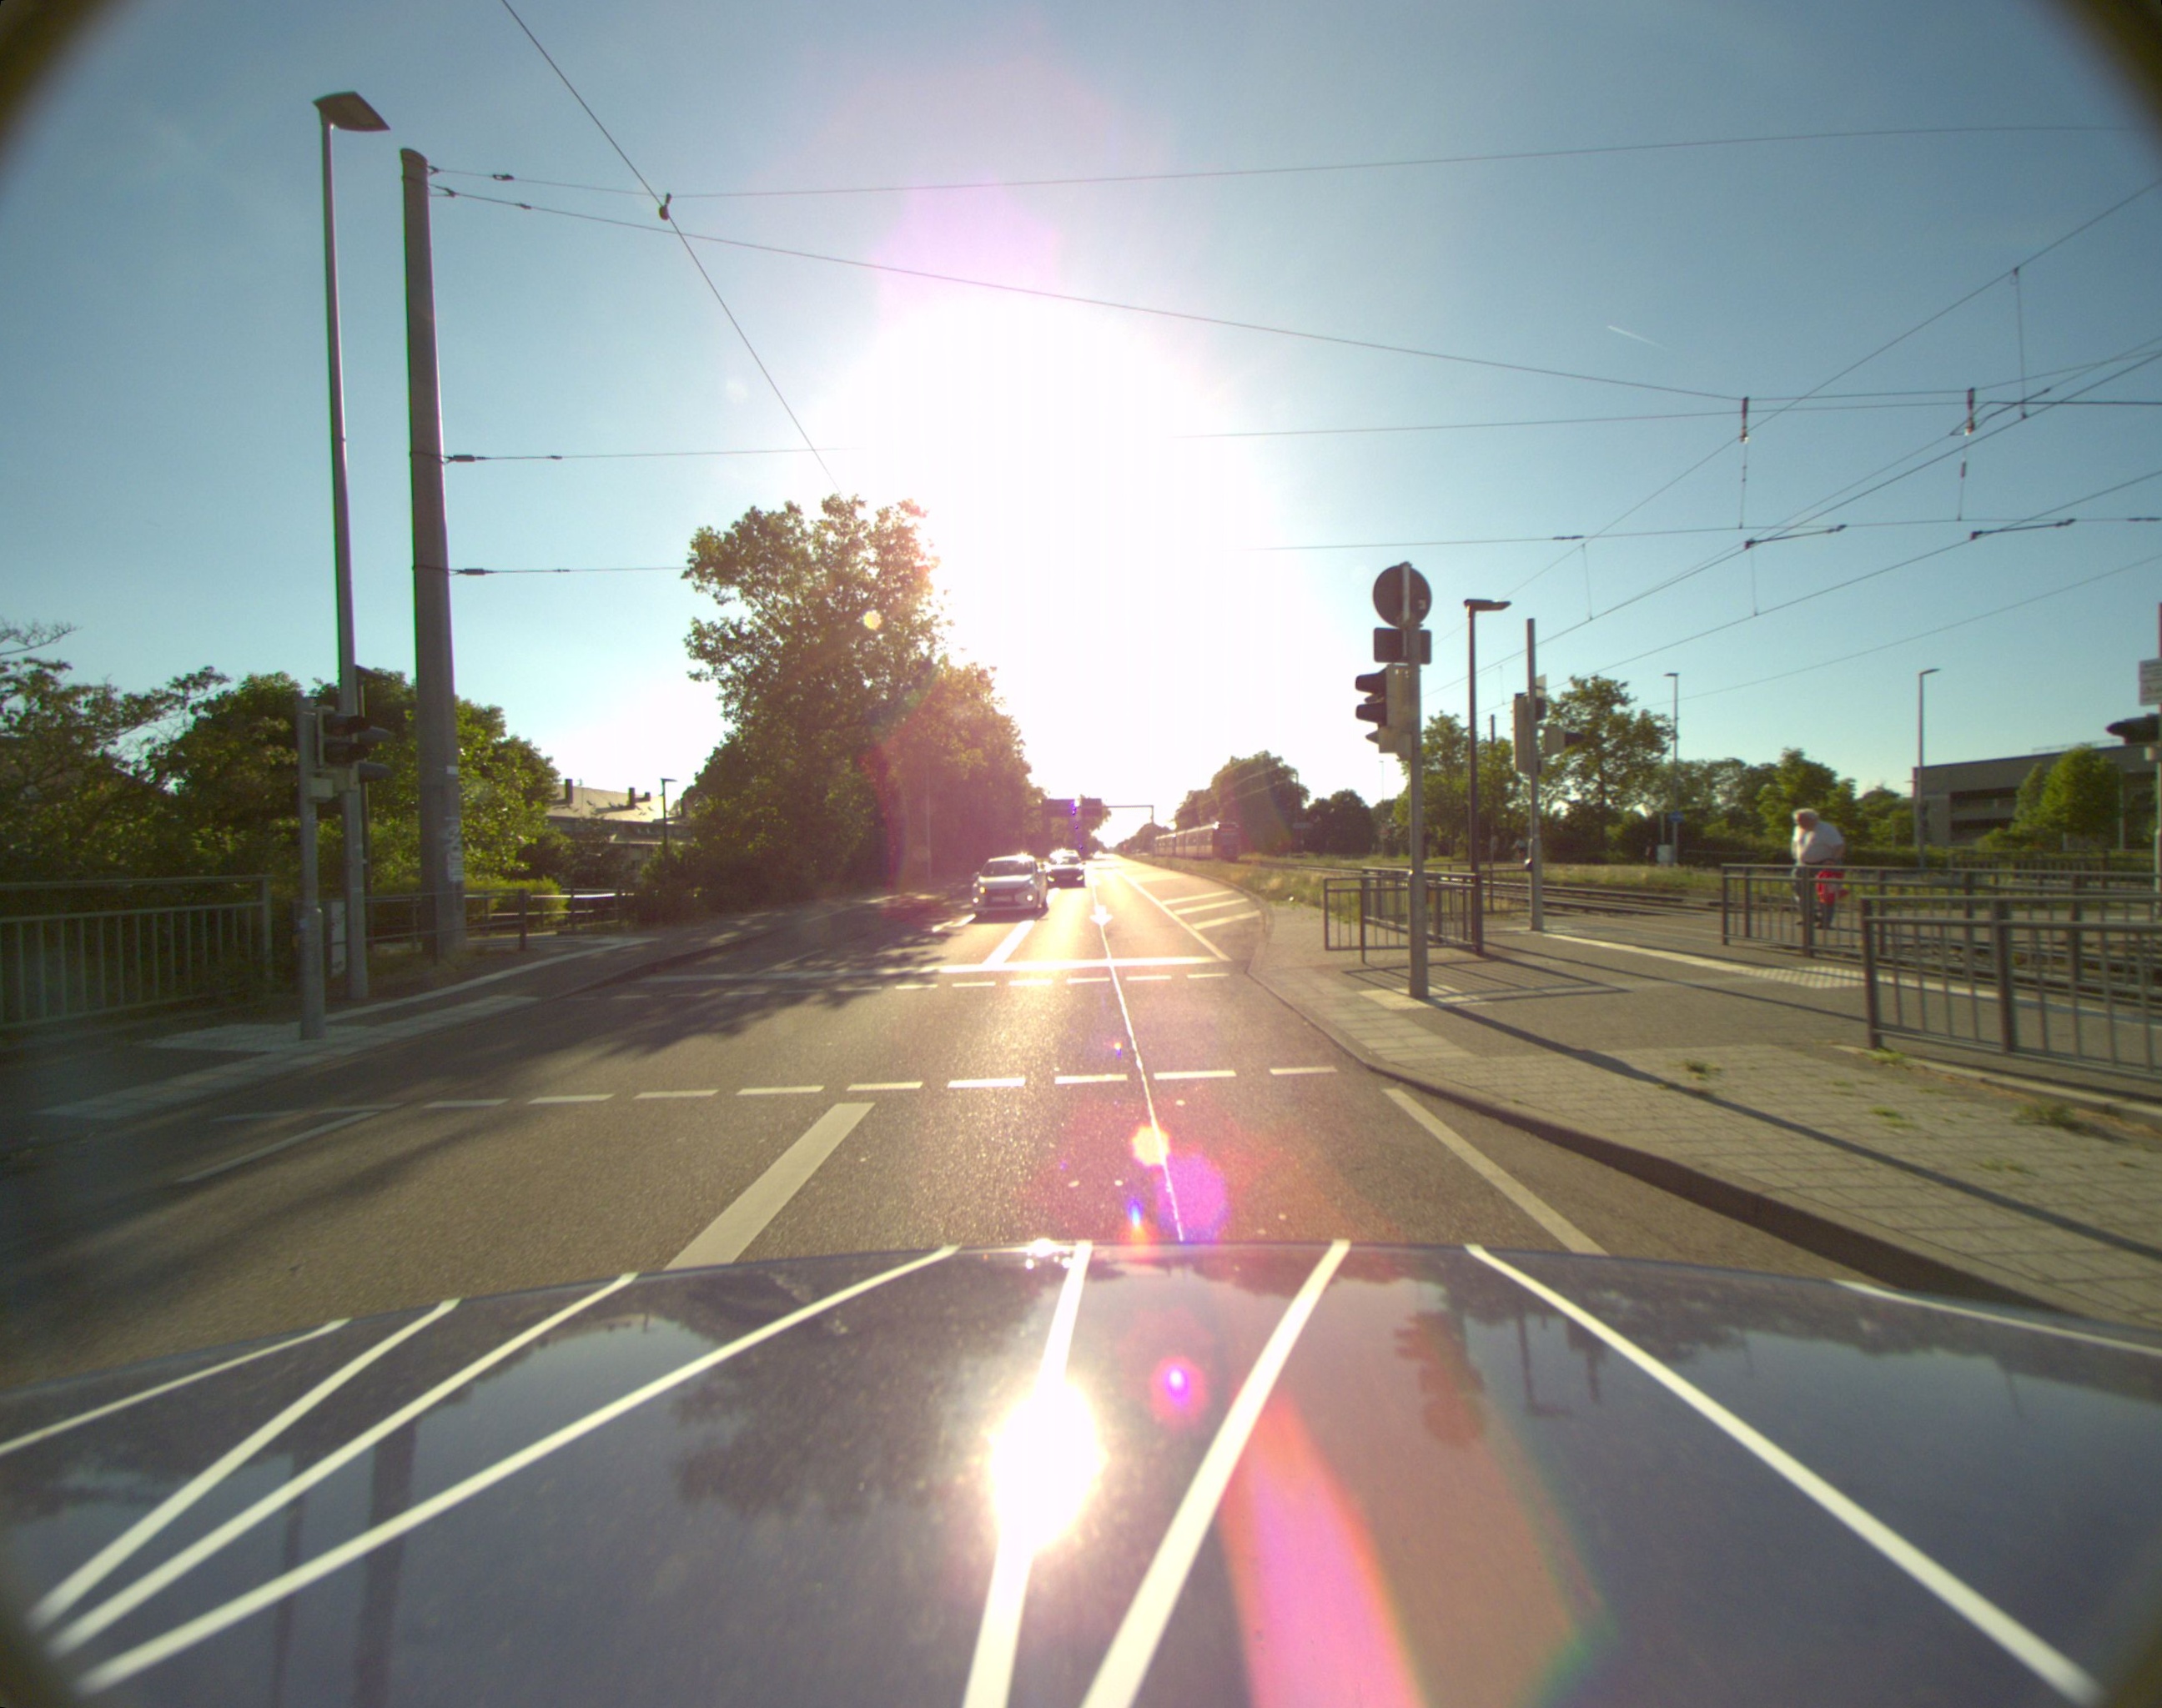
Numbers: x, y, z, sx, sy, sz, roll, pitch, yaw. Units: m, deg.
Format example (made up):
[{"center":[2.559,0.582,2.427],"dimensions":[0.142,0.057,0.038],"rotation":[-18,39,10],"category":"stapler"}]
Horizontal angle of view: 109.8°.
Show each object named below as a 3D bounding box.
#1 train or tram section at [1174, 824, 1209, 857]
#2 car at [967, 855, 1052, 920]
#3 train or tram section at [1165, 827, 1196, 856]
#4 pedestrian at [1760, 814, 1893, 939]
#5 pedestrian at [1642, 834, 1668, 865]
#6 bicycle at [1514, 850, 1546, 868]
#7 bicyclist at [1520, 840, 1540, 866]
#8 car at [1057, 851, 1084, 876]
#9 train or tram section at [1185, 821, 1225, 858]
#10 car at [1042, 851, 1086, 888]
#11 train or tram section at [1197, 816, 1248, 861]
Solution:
[{"center":[14.229,-1.699,98.622],"dimensions":[2.891,3.924,12.111],"rotation":[-2,1,1],"category":"train or tram section"},{"center":[-1.809,0.819,20.403],"dimensions":[1.670,1.465,3.744],"rotation":[-1,1,3],"category":"car"},{"center":[14.451,-1.821,111.480],"dimensions":[2.891,3.924,13.659],"rotation":[-2,1,1],"category":"train or tram section"},{"center":[10.335,0.295,10.579],"dimensions":[0.891,1.635,0.987],"rotation":[-1,1,4],"category":"pedestrian"},{"center":[30.114,-0.245,39.870],"dimensions":[0.722,1.600,0.879],"rotation":[-1,1,1],"category":"pedestrian"},{"center":[29.184,0.336,49.456],"dimensions":[0.632,1.121,2.528],"rotation":[-1,1,2],"category":"bicycle"},{"center":[29.180,-0.061,49.402],"dimensions":[0.770,1.608,0.835],"rotation":[-1,1,1],"category":"bicyclist"},{"center":[-0.707,0.650,54.479],"dimensions":[1.824,1.608,3.999],"rotation":[-2,1,0],"category":"car"},{"center":[14.022,-1.585,86.895],"dimensions":[2.891,3.924,11.339],"rotation":[-2,1,1],"category":"train or tram section"},{"center":[-0.722,0.663,35.256],"dimensions":[1.786,1.530,3.999],"rotation":[-1,1,2],"category":"car"},{"center":[13.809,-1.464,75.166],"dimensions":[2.891,3.924,12.111],"rotation":[-2,1,1],"category":"train or tram section"}]
